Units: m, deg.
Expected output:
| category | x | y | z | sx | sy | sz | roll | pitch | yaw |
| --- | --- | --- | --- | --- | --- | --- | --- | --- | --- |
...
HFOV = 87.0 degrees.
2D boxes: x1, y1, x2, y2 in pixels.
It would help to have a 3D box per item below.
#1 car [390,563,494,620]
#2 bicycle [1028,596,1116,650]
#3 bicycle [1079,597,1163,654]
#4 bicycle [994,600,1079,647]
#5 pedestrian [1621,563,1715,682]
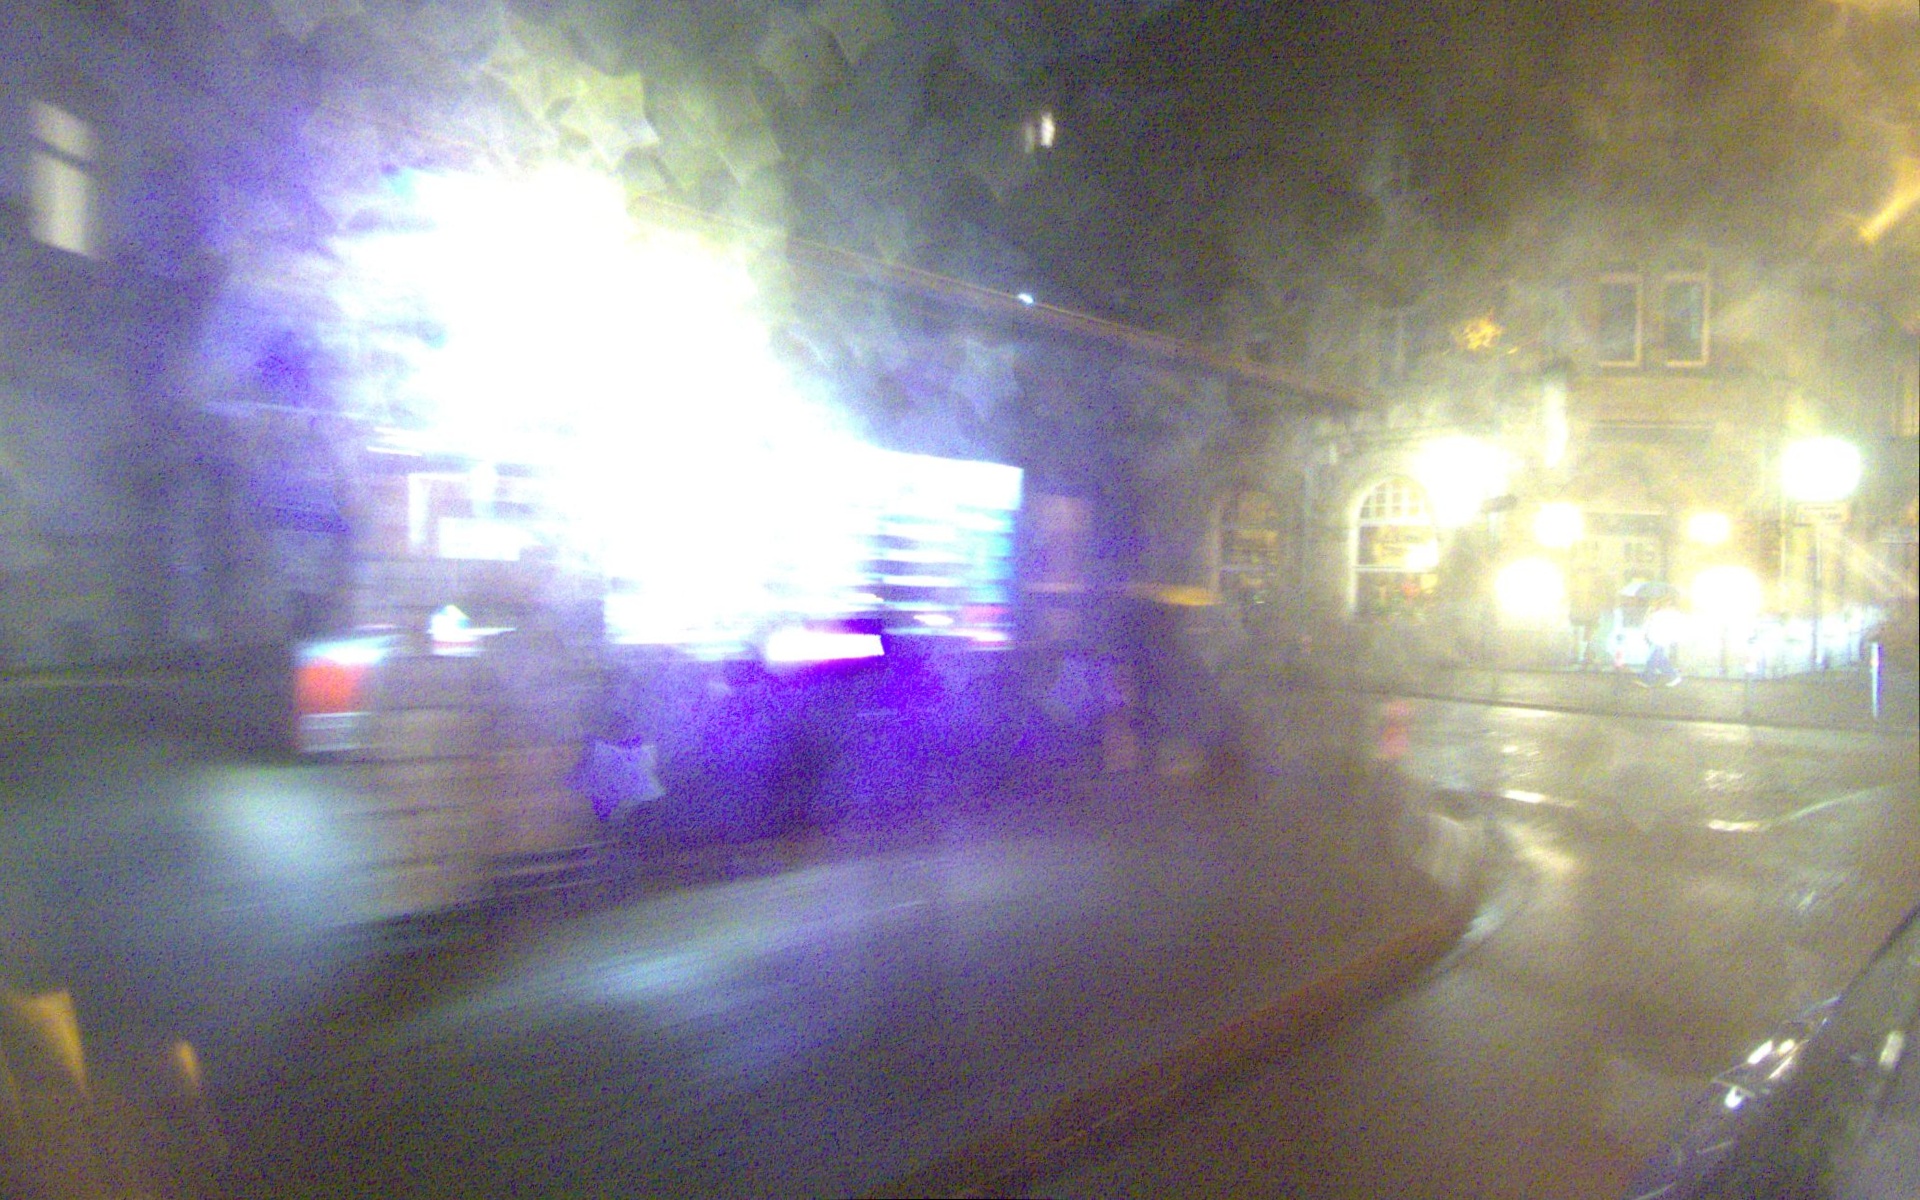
| category | x | y | z | sx | sy | sz | roll | pitch | yaw |
| --- | --- | --- | --- | --- | --- | --- | --- | --- | --- |
| car | -17.350 | -0.334 | 33.772 | 1.968 | 1.765 | 4.686 | 0 | 1 | -42 |
| bicycle | 2.479 | 0.481 | 22.222 | 1.947 | 1.130 | 0.702 | -1 | -1 | -36 |
| bicycle | 3.392 | 0.506 | 21.182 | 1.947 | 1.130 | 0.508 | -1 | -1 | -36 |
| bicycle | 1.767 | 0.519 | 23.166 | 1.947 | 1.023 | 0.702 | -1 | -1 | -36 |
| pedestrian | 11.324 | 0.343 | 16.192 | 1.062 | 1.810 | 0.865 | 2 | 2 | -37 |
